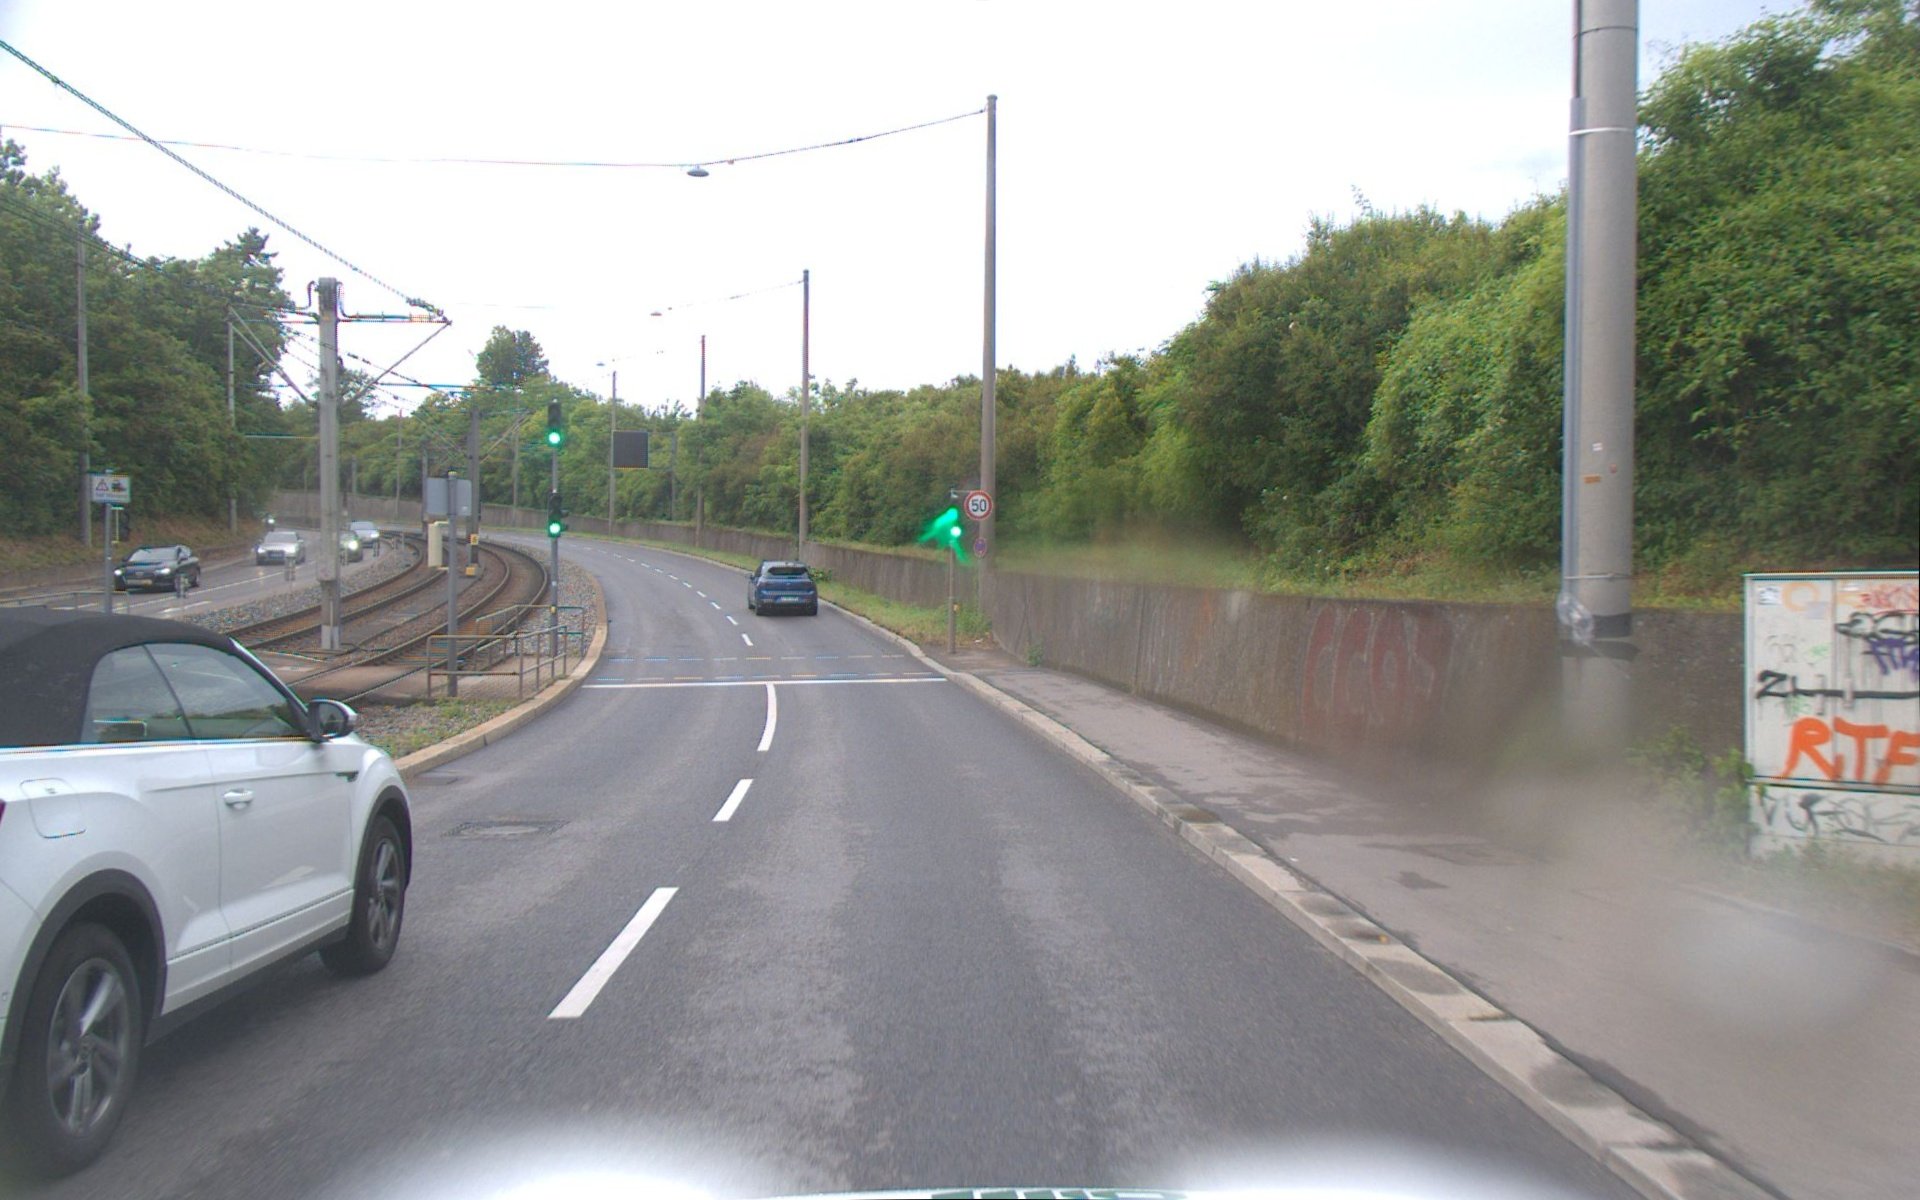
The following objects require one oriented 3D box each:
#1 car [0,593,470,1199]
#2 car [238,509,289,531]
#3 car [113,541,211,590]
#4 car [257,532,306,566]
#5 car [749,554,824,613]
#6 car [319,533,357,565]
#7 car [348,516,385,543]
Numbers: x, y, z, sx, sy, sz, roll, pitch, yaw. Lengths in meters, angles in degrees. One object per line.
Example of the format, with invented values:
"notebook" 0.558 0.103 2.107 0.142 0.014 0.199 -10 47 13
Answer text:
"car" -3.242 0.793 5.783 1.834 1.551 4.538 -1 -1 -2
"car" -56.604 -6.516 134.401 4.649 1.698 1.782 3 5 38
"car" -25.826 -1.143 53.670 1.684 1.483 4.267 -1 2 -9
"car" -31.152 -2.357 75.991 1.792 1.403 4.680 -2 4 -19
"car" -5.016 -0.513 47.464 1.732 1.527 3.989 1 2 -12
"car" -29.291 -2.416 77.932 1.609 1.408 3.872 -3 3 -20
"car" -35.743 -4.248 99.543 1.835 1.463 4.825 -3 4 -21
